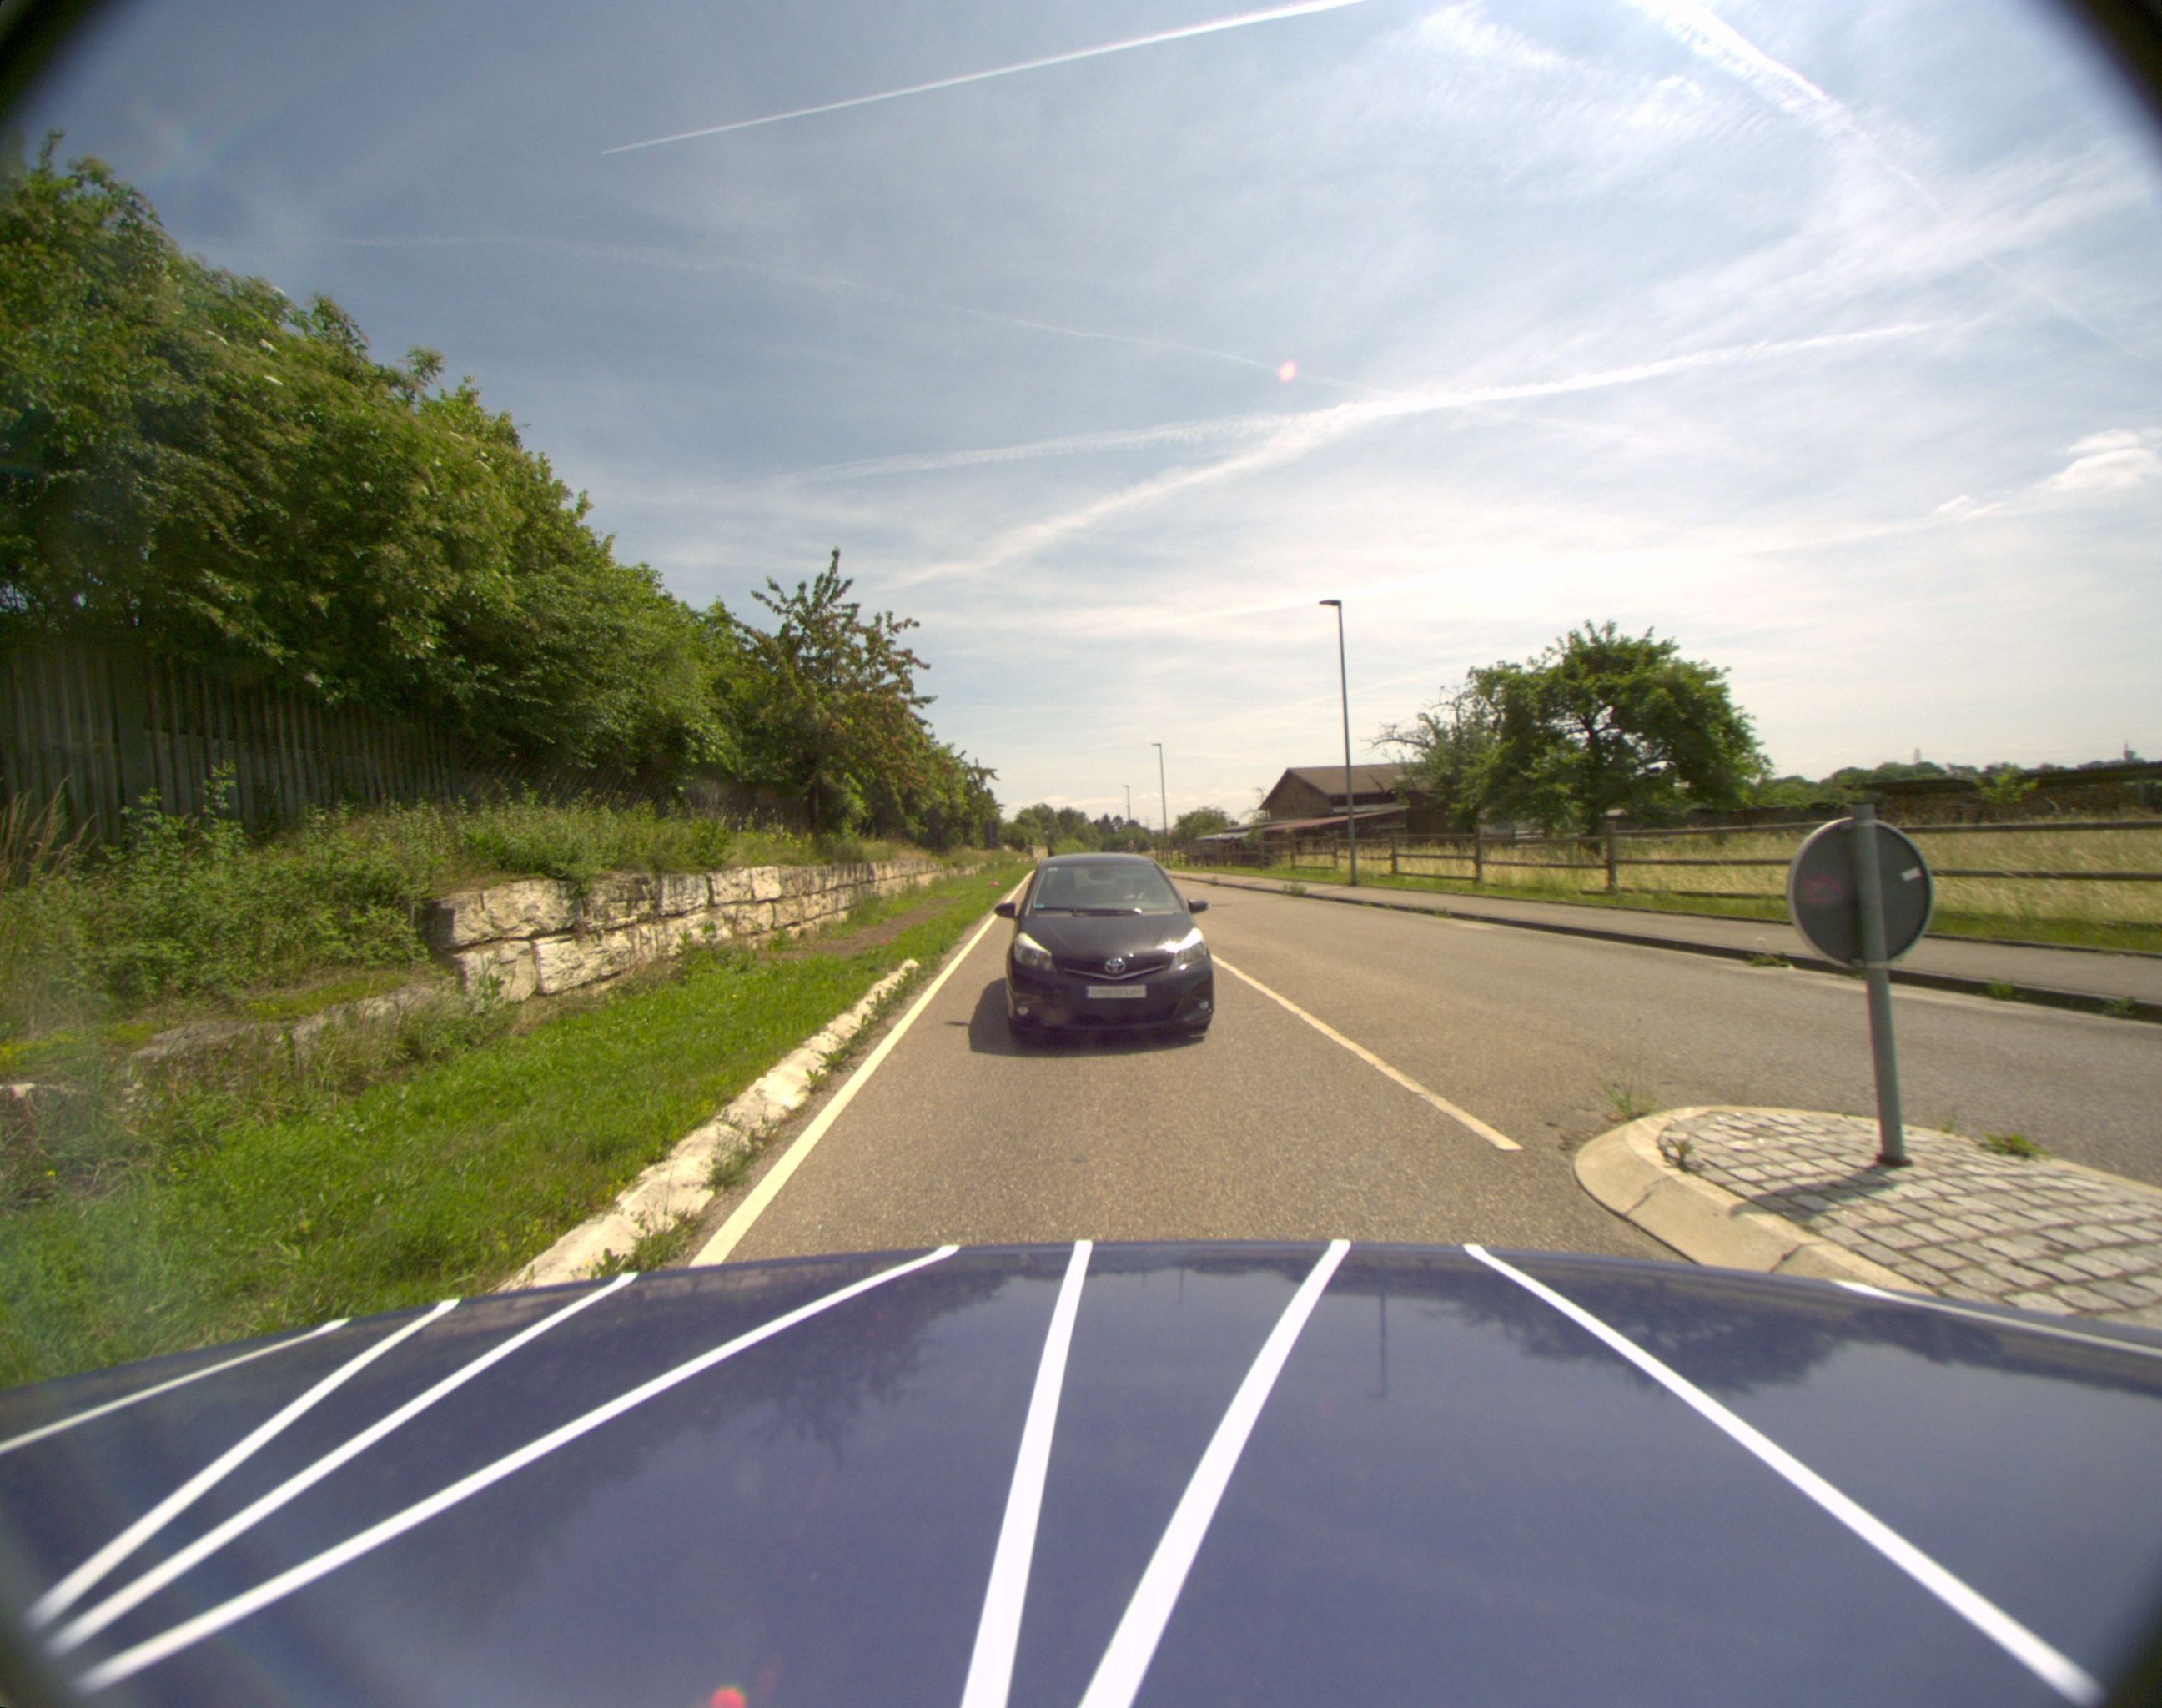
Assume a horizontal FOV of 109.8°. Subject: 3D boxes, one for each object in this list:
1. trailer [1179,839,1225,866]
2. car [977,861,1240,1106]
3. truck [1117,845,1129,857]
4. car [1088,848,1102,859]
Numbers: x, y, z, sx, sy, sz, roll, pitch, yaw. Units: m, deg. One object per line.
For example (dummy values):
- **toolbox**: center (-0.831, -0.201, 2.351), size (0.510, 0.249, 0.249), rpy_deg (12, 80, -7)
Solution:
- **trailer**: center (8.198, -0.132, 51.808), size (2.160, 1.693, 5.027), rpy_deg (-2, 0, -2)
- **car**: center (0.137, 0.864, 7.161), size (1.677, 1.456, 4.431), rpy_deg (-1, 1, -1)
- **truck**: center (8.568, -0.580, 154.498), size (2.227, 2.280, 6.493), rpy_deg (-2, 1, 4)
- **car**: center (2.602, -0.124, 141.497), size (2.192, 2.002, 4.779), rpy_deg (-4, 1, -2)
